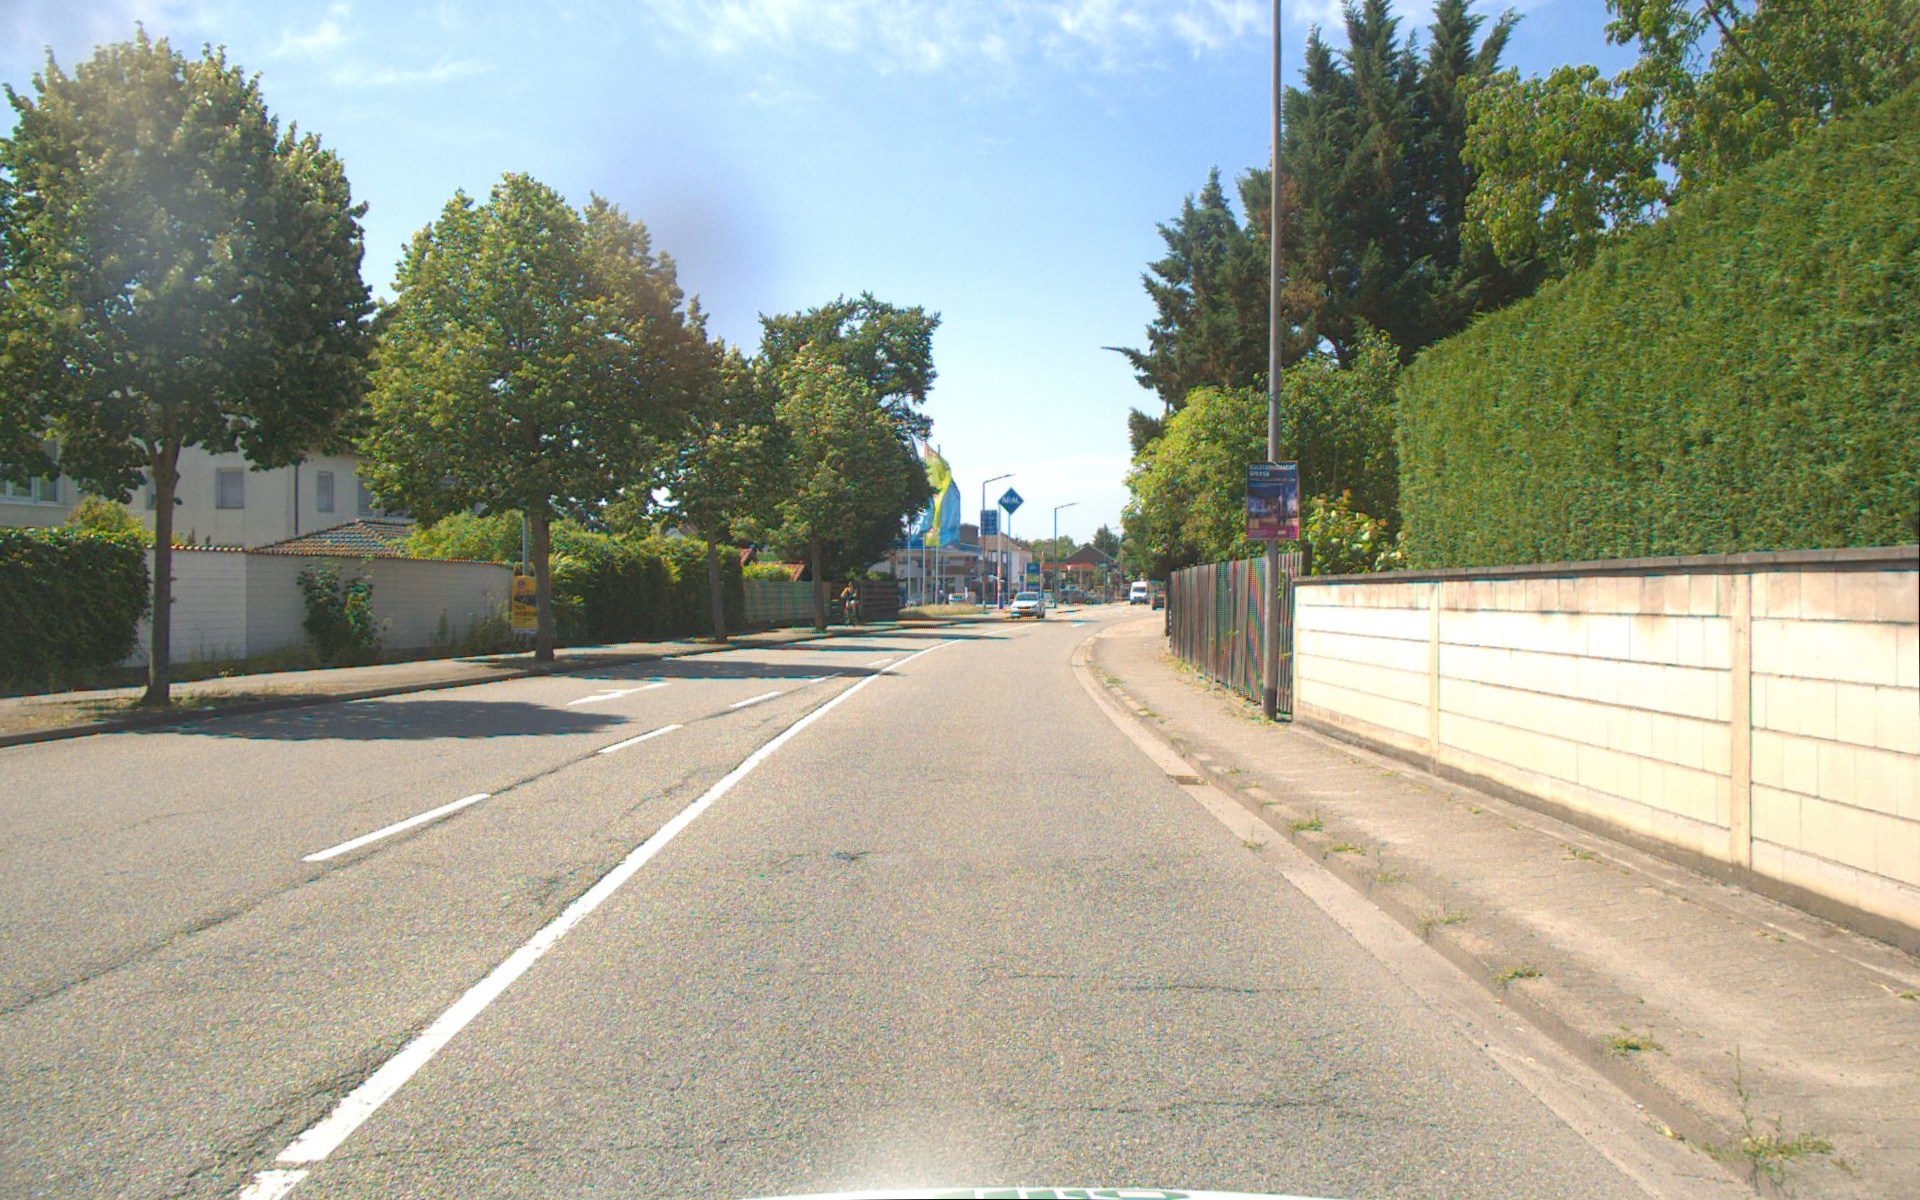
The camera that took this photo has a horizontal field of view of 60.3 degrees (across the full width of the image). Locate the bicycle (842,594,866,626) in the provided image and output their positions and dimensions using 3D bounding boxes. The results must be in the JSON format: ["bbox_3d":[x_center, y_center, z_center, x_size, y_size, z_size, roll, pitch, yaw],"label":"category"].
[{"bbox_3d":[-4.091,0.392,64.111,0.619,1.200,1.817,0,0,6],"label":"bicycle"}]

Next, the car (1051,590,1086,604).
[{"bbox_3d":[12.316,-0.328,188.237,3.902,1.534,1.556,0,0,7],"label":"car"}]

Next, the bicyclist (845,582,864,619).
[{"bbox_3d":[-4.097,0.004,64.076,0.615,1.433,0.677,0,0,6],"label":"bicyclist"}]

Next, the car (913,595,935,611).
[{"bbox_3d":[-3.464,0.267,159.689,1.582,1.445,3.714,-1,0,6],"label":"car"}]

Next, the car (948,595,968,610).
[{"bbox_3d":[-0.170,0.221,159.676,1.582,1.445,3.714,-1,0,6],"label":"car"}]

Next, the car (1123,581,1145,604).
[{"bbox_3d":[20.235,-0.803,192.204,1.951,2.465,5.952,2,-1,12],"label":"car"}]

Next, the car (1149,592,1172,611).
[{"bbox_3d":[16.368,0.108,135.091,1.630,1.481,3.475,0,0,10],"label":"car"}]

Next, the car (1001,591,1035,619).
[{"bbox_3d":[3.249,0.264,92.239,1.578,1.508,3.710,0,0,7],"label":"car"}]
